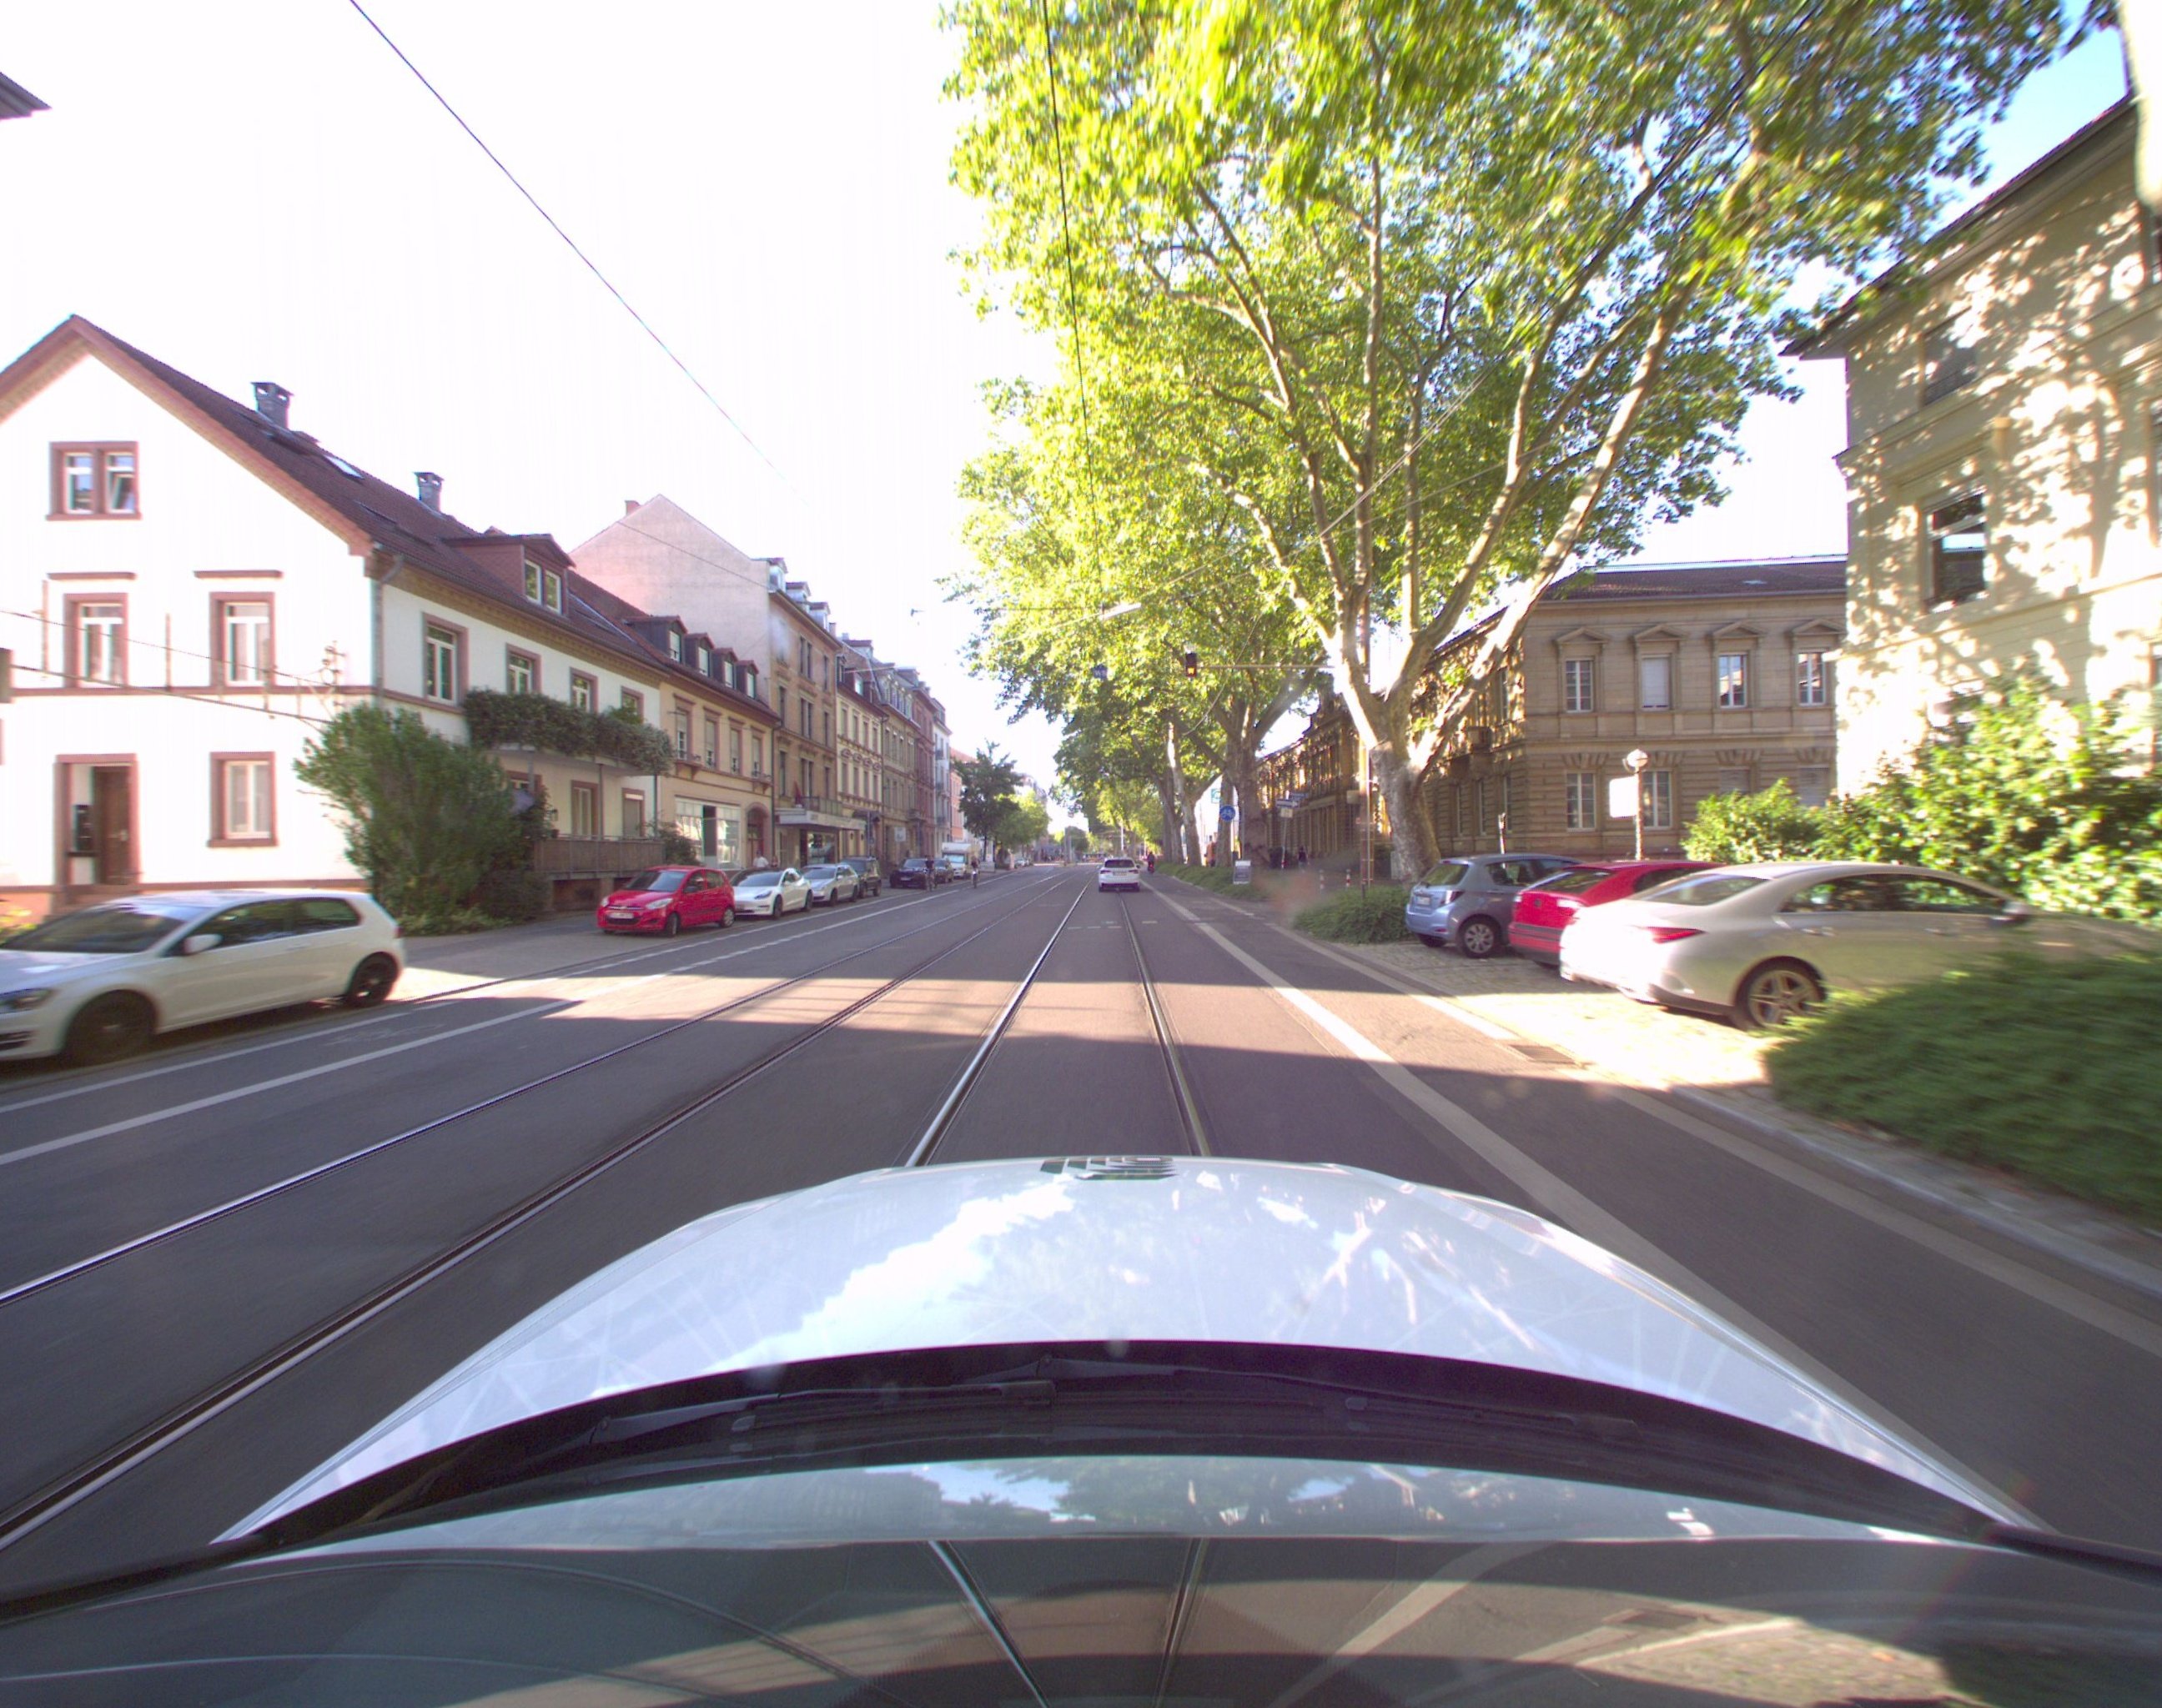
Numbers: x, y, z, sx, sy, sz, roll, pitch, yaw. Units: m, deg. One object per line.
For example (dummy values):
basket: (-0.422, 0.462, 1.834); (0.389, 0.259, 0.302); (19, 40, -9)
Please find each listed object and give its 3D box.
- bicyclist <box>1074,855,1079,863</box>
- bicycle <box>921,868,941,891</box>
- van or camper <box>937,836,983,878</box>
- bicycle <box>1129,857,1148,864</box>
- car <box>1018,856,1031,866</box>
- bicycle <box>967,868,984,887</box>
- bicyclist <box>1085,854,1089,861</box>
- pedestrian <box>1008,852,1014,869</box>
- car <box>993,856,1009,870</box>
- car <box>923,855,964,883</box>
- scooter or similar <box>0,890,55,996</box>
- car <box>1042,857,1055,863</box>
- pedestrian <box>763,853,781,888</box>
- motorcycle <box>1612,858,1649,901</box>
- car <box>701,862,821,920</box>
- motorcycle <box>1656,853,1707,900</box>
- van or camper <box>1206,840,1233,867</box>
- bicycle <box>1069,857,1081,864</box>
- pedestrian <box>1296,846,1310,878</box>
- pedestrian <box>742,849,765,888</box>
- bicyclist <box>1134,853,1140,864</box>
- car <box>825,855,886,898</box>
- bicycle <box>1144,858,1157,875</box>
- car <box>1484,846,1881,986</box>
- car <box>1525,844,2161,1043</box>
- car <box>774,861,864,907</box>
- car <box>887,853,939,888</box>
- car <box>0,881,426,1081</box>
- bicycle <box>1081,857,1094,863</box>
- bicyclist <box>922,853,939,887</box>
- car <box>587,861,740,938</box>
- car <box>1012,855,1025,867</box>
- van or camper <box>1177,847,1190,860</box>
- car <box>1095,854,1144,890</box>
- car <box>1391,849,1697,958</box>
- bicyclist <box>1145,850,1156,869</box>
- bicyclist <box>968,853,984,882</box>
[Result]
bicyclist: (-0.976, 1.028, 172.568); (0.635, 1.522, 0.603); (-2, 1, -34)
bicycle: (-7.523, 1.251, 40.816); (0.482, 1.047, 2.041); (-3, 0, 3)
van or camper: (-9.412, 0.255, 64.039); (2.208, 3.140, 7.117); (0, 0, 2)
bicycle: (8.284, 0.941, 117.249); (2.749, 0.999, 0.595); (0, -1, 15)
car: (-9.236, 1.124, 133.523); (1.788, 1.726, 3.783); (0, 0, -1)
bicycle: (-5.529, 1.236, 42.768); (0.497, 0.943, 1.922); (-3, 0, 3)
bicyclist: (1.251, 0.785, 173.913); (0.635, 1.522, 0.603); (-2, 1, -34)
pedestrian: (-8.313, 0.809, 96.391); (0.598, 2.002, 0.750); (0, 0, 5)
car: (-10.296, 1.139, 104.992); (1.636, 1.726, 3.783); (0, 0, -1)
car: (-9.100, 0.983, 54.271); (1.958, 1.781, 4.469); (0, 0, -1)
scooter or similar: (-13.548, 1.110, 9.727); (0.444, 1.280, 1.579); (-1, 0, 9)
car: (-9.994, 1.820, 248.241); (3.773, 1.818, 1.807); (0, 0, 6)
pedestrian: (-13.026, 0.700, 34.307); (0.636, 1.460, 0.654); (0, -1, -15)
motorcycle: (18.041, 0.802, 26.751); (0.490, 1.296, 2.194); (0, 1, 20)
car: (-9.411, 1.025, 24.398); (1.822, 1.502, 4.685); (0, 0, -1)
motorcycle: (19.286, 0.683, 26.185); (0.563, 1.431, 2.296); (0, 1, 16)
van or camper: (13.284, -0.035, 78.529); (2.019, 2.464, 5.112); (0, 0, 3)
bicycle: (-1.206, 1.417, 172.368); (2.699, 1.327, 0.609); (-1, 0, -34)
pedestrian: (11.640, 0.409, 42.629); (0.642, 1.633, 0.876); (0, -1, 20)
pedestrian: (-13.710, 0.609, 34.113); (0.773, 1.634, 0.654); (0, -1, -15)
bicyclist: (8.099, 0.627, 117.316); (0.731, 1.589, 0.589); (-1, 0, 13)
car: (-9.483, 0.908, 34.521); (1.551, 1.732, 3.685); (0, 0, 0)
bicycle: (4.786, 0.847, 56.355); (0.677, 1.155, 2.964); (0, 0, 1)
car: (7.253, 0.690, 10.034); (3.745, 1.387, 1.678); (-3, 0, -5)
car: (6.678, 0.722, 7.407); (4.269, 1.417, 1.761); (-3, 0, 2)
car: (-9.411, 1.042, 29.660); (1.821, 1.502, 4.449); (0, 0, 0)
car: (-9.428, 0.886, 46.137); (1.958, 1.781, 4.935); (2, 0, -1)
car: (-9.546, 1.095, 8.639); (1.681, 1.477, 4.258); (0, 0, 1)
bicycle: (1.391, 1.248, 173.976); (2.699, 1.327, 0.609); (-1, 0, -34)
bicyclist: (-7.535, 0.806, 40.820); (0.533, 1.634, 0.897); (-3, -1, 2)
car: (-9.583, 0.989, 18.998); (1.562, 1.562, 3.453); (-1, 0, 5)
car: (-9.745, 1.092, 126.651); (1.788, 1.726, 3.783); (0, 0, -1)
van or camper: (18.097, -0.110, 144.163); (1.986, 2.343, 4.001); (0, 0, 1)
car: (1.595, 0.734, 34.836); (1.837, 1.480, 3.836); (0, 0, -1)
car: (6.952, 0.709, 12.503); (3.738, 1.508, 1.681); (-1, 0, 1)
bicyclist: (4.783, 0.390, 56.147); (0.676, 1.339, 0.525); (0, -1, 0)
bicyclist: (-5.523, 0.709, 42.784); (0.636, 1.503, 1.070); (-2, -1, 2)
